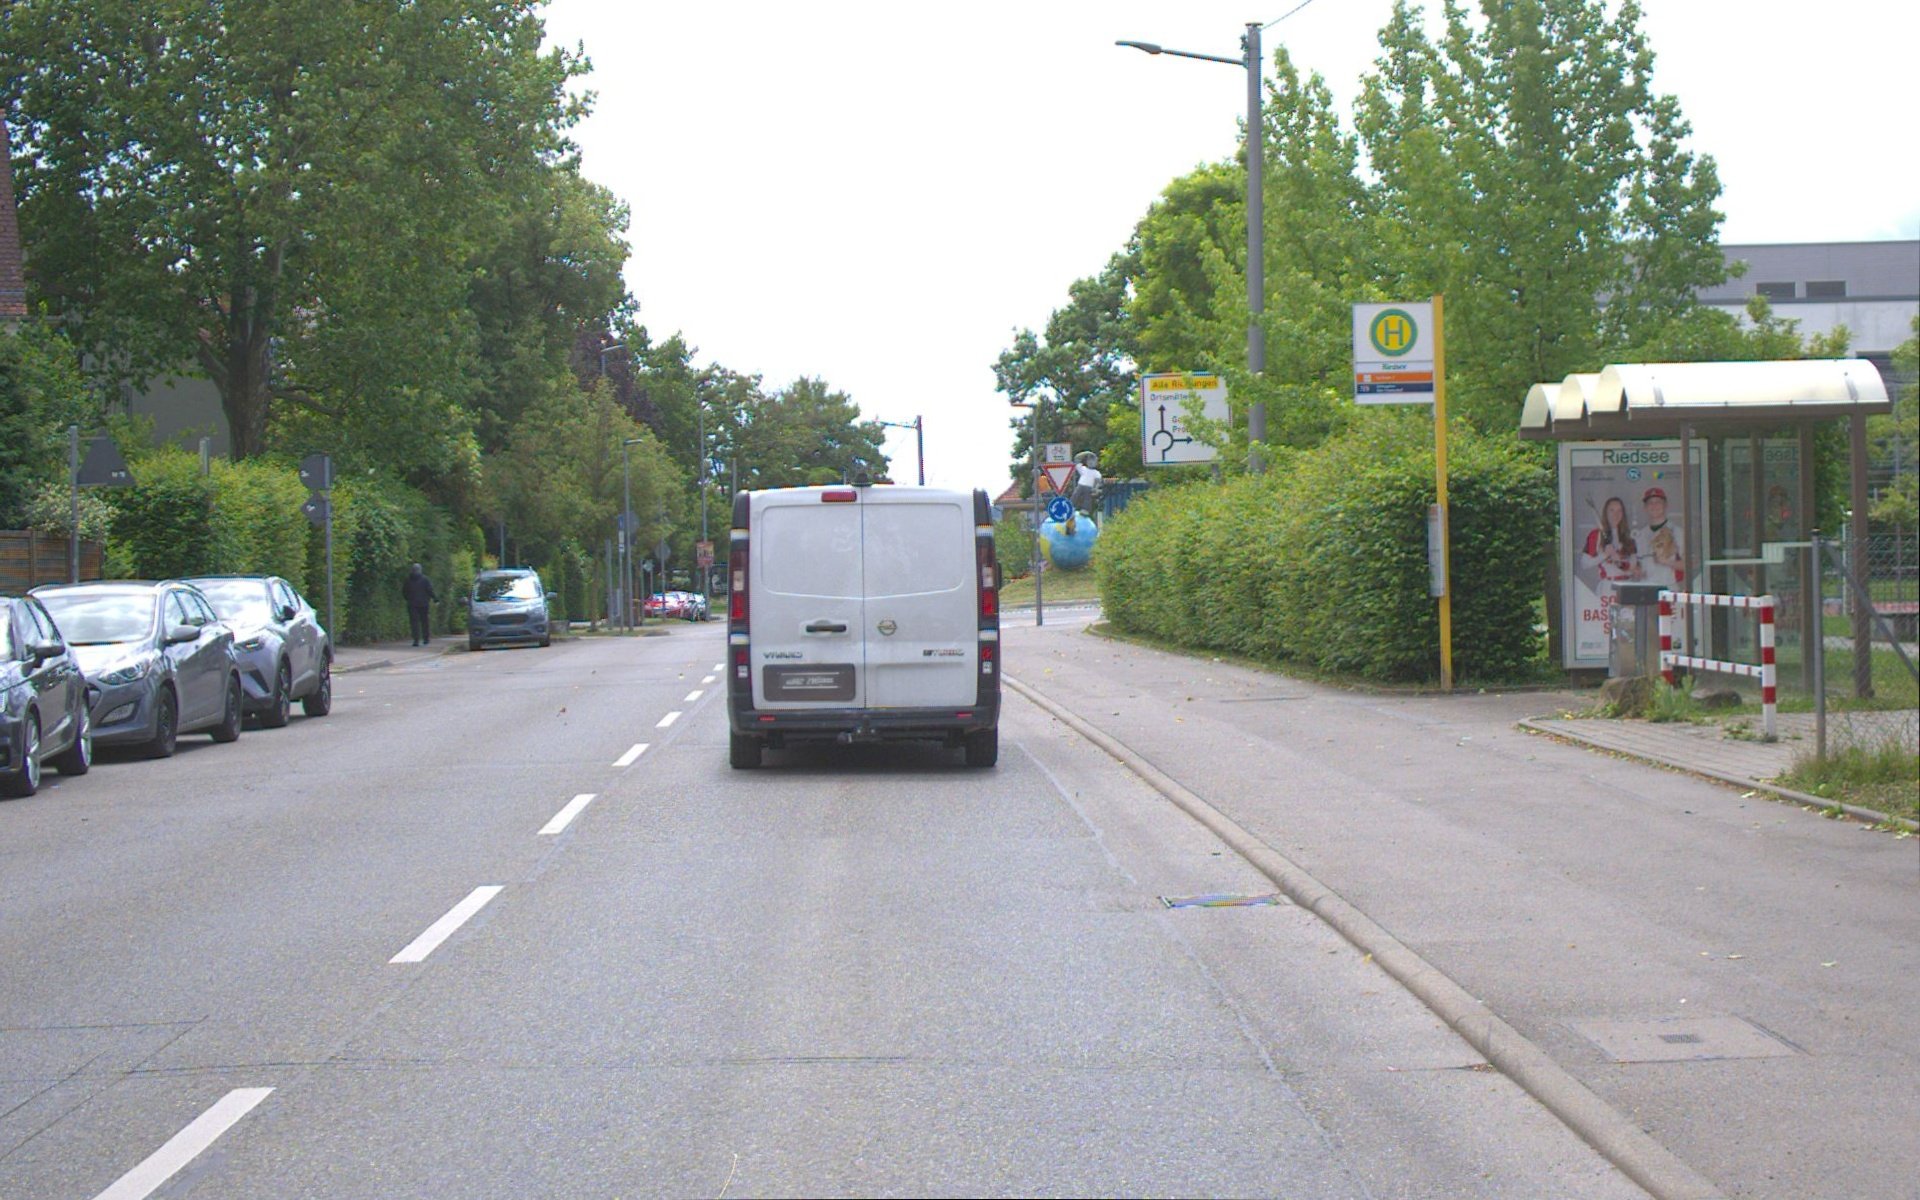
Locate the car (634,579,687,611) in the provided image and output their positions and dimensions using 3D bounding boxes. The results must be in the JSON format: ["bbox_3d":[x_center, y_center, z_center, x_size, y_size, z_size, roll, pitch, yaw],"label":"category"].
[{"bbox_3d":[-14.263,-0.260,163.686,2.062,1.381,4.049,-1,1,-11],"label":"car"}]

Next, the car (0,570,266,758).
[{"bbox_3d":[-7.389,0.500,29.661,1.867,1.454,4.489,-1,1,0],"label":"car"}]

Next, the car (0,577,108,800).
[{"bbox_3d":[-7.321,0.608,24.856,1.651,1.422,3.907,-2,2,-5],"label":"car"}]

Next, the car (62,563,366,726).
[{"bbox_3d":[-7.556,0.402,35.296,1.993,1.474,4.647,-2,1,1],"label":"car"}]

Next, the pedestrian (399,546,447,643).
[{"bbox_3d":[-11.345,-0.118,72.673,0.871,2.007,1.041,-3,1,-6],"label":"pedestrian"}]

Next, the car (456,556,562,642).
[{"bbox_3d":[-9.747,-0.051,74.084,2.131,1.766,4.466,0,1,-9],"label":"car"}]

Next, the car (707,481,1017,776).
[{"bbox_3d":[-0.760,0.146,25.185,2.034,1.939,4.994,0,1,-3],"label":"car"}]
